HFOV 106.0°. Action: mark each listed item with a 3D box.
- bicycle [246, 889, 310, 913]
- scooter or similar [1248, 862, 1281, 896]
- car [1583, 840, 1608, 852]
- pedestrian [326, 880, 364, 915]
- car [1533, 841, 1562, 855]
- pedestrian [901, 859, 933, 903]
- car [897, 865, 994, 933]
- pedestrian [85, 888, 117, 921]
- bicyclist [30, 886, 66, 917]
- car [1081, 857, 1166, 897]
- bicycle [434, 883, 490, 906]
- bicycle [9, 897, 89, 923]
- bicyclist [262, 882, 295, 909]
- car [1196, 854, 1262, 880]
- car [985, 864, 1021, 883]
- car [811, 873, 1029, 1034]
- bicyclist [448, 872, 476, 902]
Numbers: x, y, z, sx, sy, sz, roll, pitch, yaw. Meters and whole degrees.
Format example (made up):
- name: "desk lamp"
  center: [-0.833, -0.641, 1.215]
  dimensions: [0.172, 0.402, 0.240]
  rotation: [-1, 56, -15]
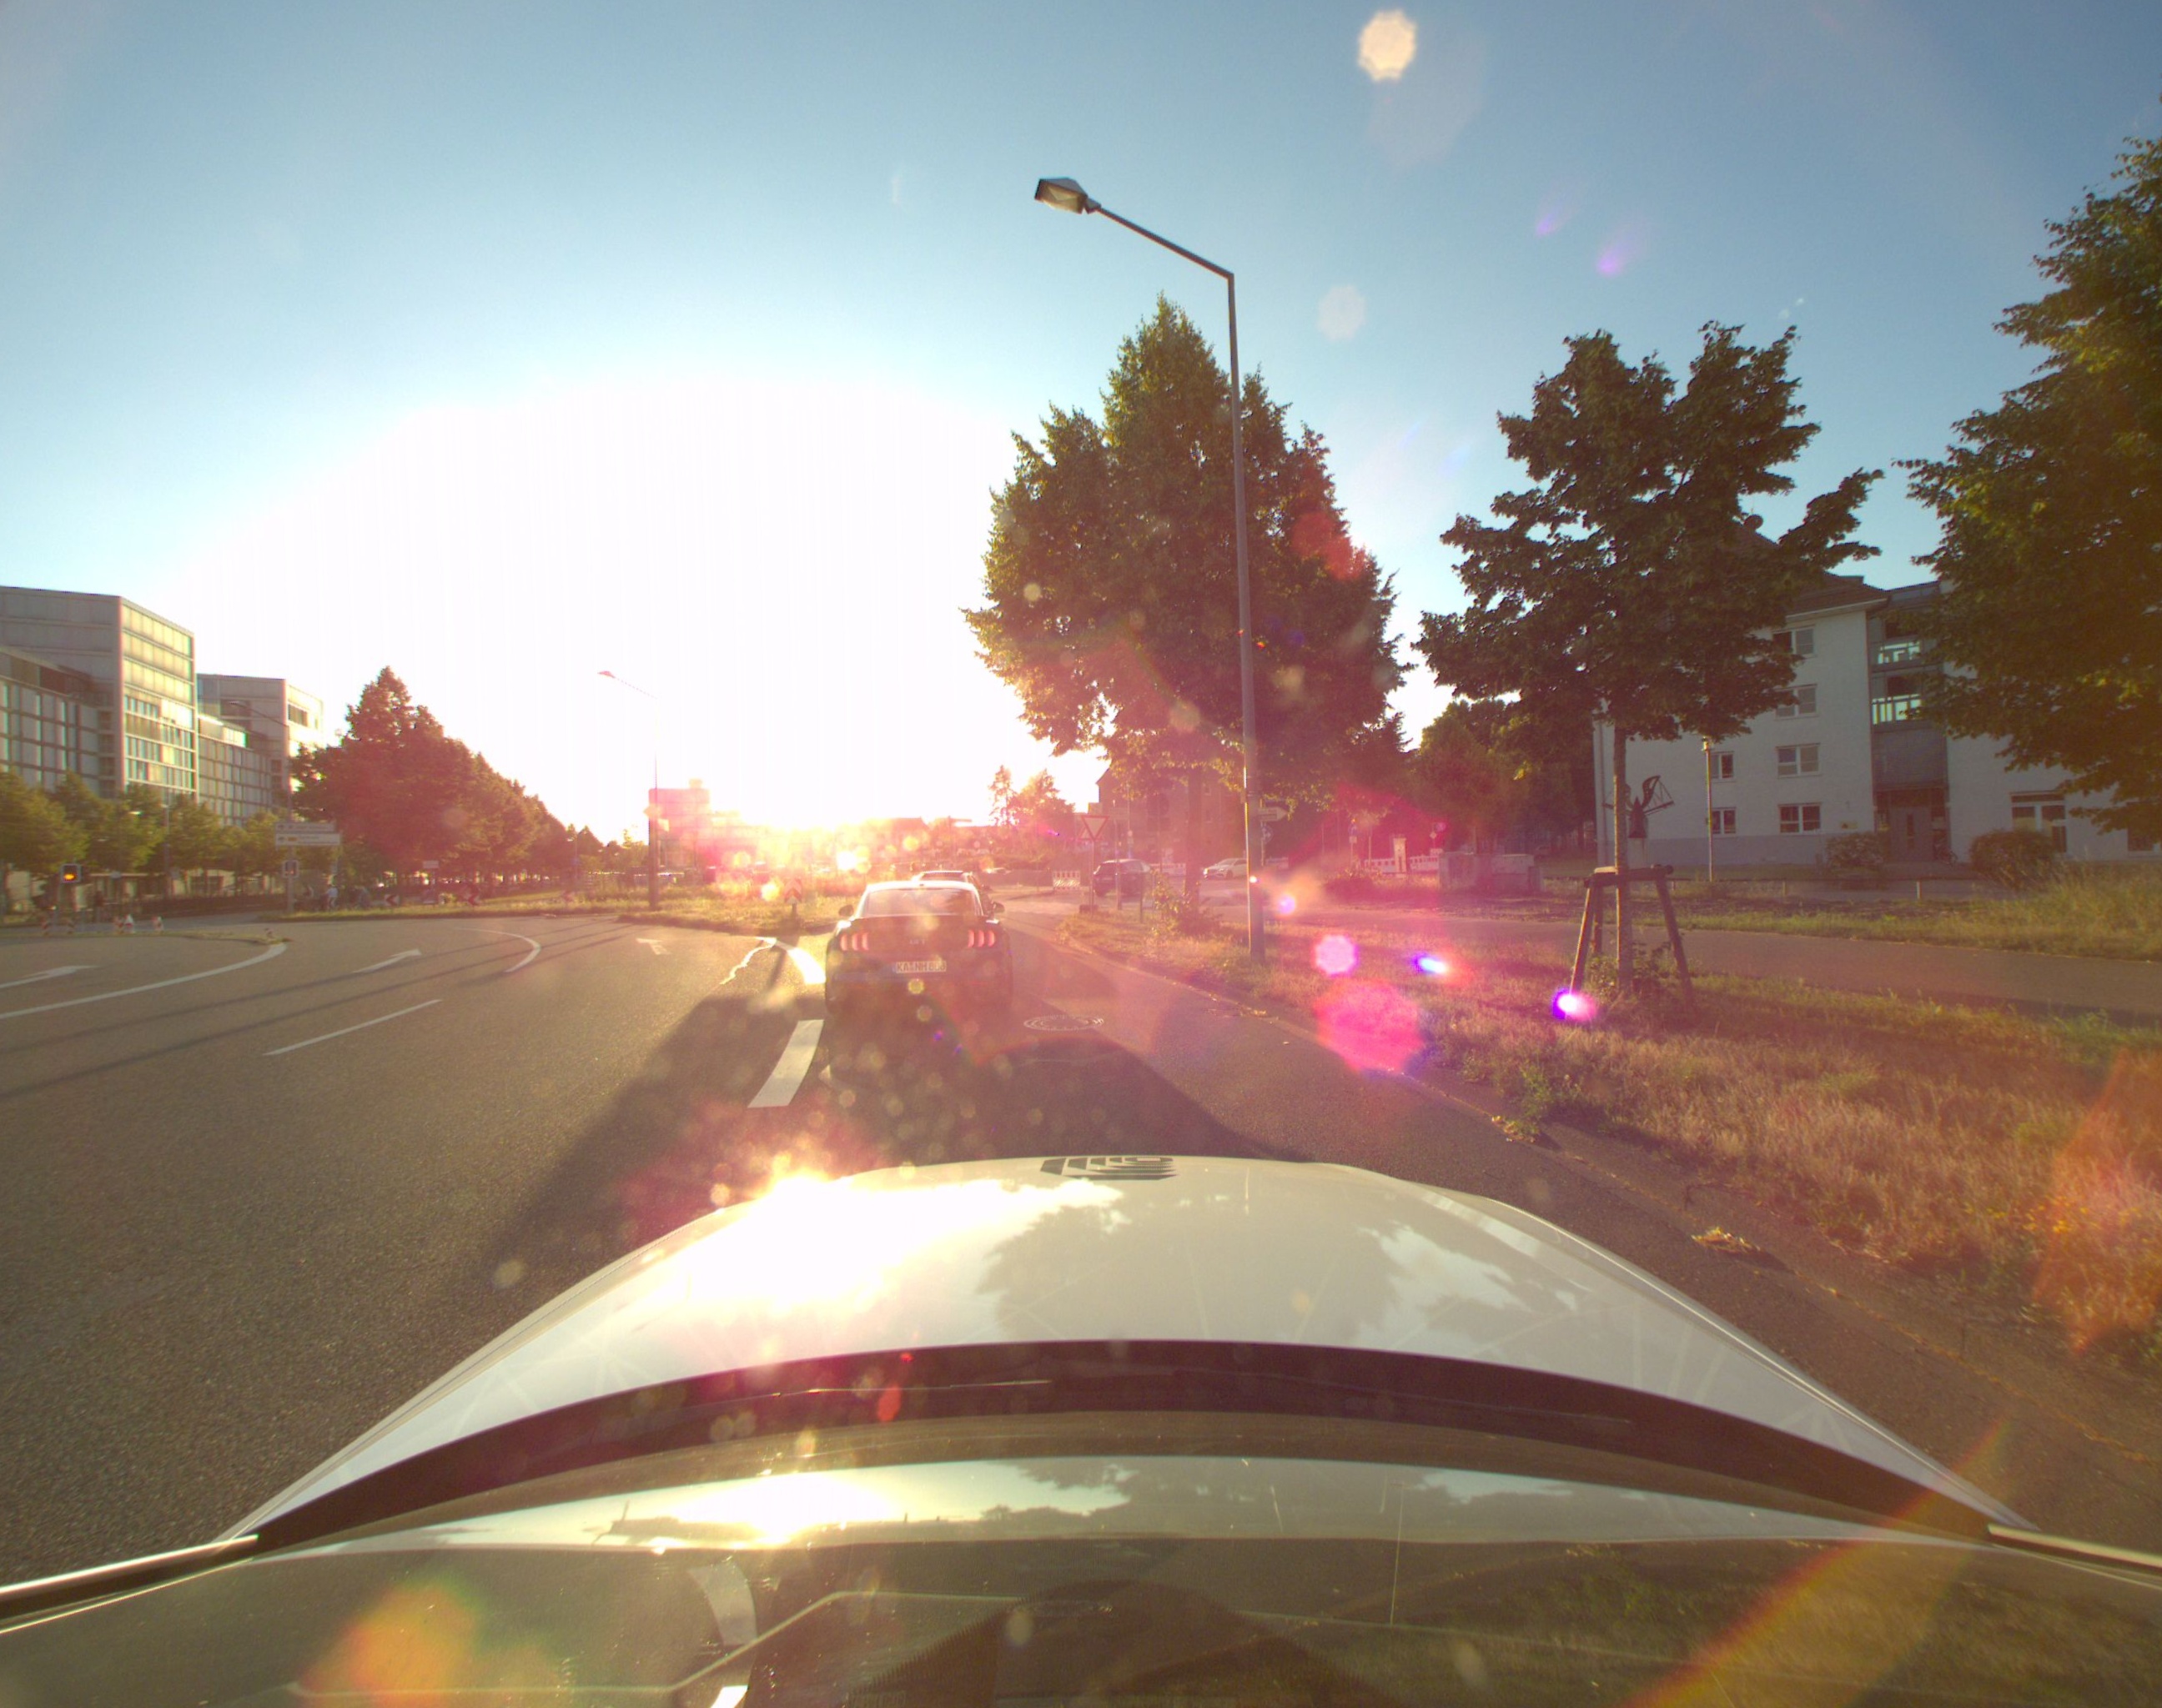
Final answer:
- name: "bicycle"
  center: [-42.945, 2.518, 43.580]
  dimensions: [2.402, 1.167, 0.752]
  rotation: [-2, -1, -11]
- name: "scooter or similar"
  center: [7.007, 0.941, 31.033]
  dimensions: [1.119, 1.238, 0.441]
  rotation: [-1, -1, -8]
- name: "car"
  center: [68.471, -1.072, 108.348]
  dimensions: [1.933, 1.602, 4.102]
  rotation: [-1, 0, 44]
- name: "pedestrian"
  center: [-40.094, 2.358, 44.363]
  dimensions: [1.156, 1.827, 0.978]
  rotation: [-2, -1, -5]
- name: "car"
  center: [52.761, -0.681, 92.072]
  dimensions: [1.933, 1.602, 4.102]
  rotation: [-1, 0, 42]
- name: "pedestrian"
  center: [-6.390, 1.046, 31.747]
  dimensions: [0.876, 1.686, 0.851]
  rotation: [-2, -1, 42]
- name: "car"
  center: [-3.103, 1.034, 19.451]
  dimensions: [1.948, 1.427, 4.420]
  rotation: [1, -2, -6]
- name: "pedestrian"
  center: [-53.260, 2.744, 44.264]
  dimensions: [0.892, 1.707, 0.786]
  rotation: [-1, -1, -34]
- name: "bicyclist"
  center: [-52.583, 2.397, 41.446]
  dimensions: [0.983, 1.525, 0.746]
  rotation: [-1, -1, -40]
- name: "car"
  center: [1.962, 0.991, 36.231]
  dimensions: [1.932, 1.602, 4.103]
  rotation: [-2, -1, 33]
- name: "bicycle"
  center: [-34.405, 2.222, 45.295]
  dimensions: [2.399, 1.167, 0.753]
  rotation: [-2, -1, -7]
- name: "bicycle"
  center: [-52.524, 2.826, 41.478]
  dimensions: [2.422, 1.167, 0.746]
  rotation: [-1, -1, -40]
- name: "bicyclist"
  center: [-42.938, 2.209, 43.568]
  dimensions: [0.976, 1.394, 0.752]
  rotation: [-2, -1, -11]
- name: "car"
  center: [10.284, 0.886, 56.437]
  dimensions: [4.682, 1.452, 2.051]
  rotation: [-3, 4, -41]
- name: "car"
  center: [-7.538, 1.867, 78.056]
  dimensions: [2.006, 1.706, 3.962]
  rotation: [-1, -1, -29]
- name: "car"
  center: [-1.975, 0.944, 9.740]
  dimensions: [1.954, 1.342, 4.649]
  rotation: [-1, -1, -13]
- name: "bicyclist"
  center: [-34.401, 1.855, 45.282]
  dimensions: [0.974, 1.612, 0.753]
  rotation: [-2, -1, -7]
